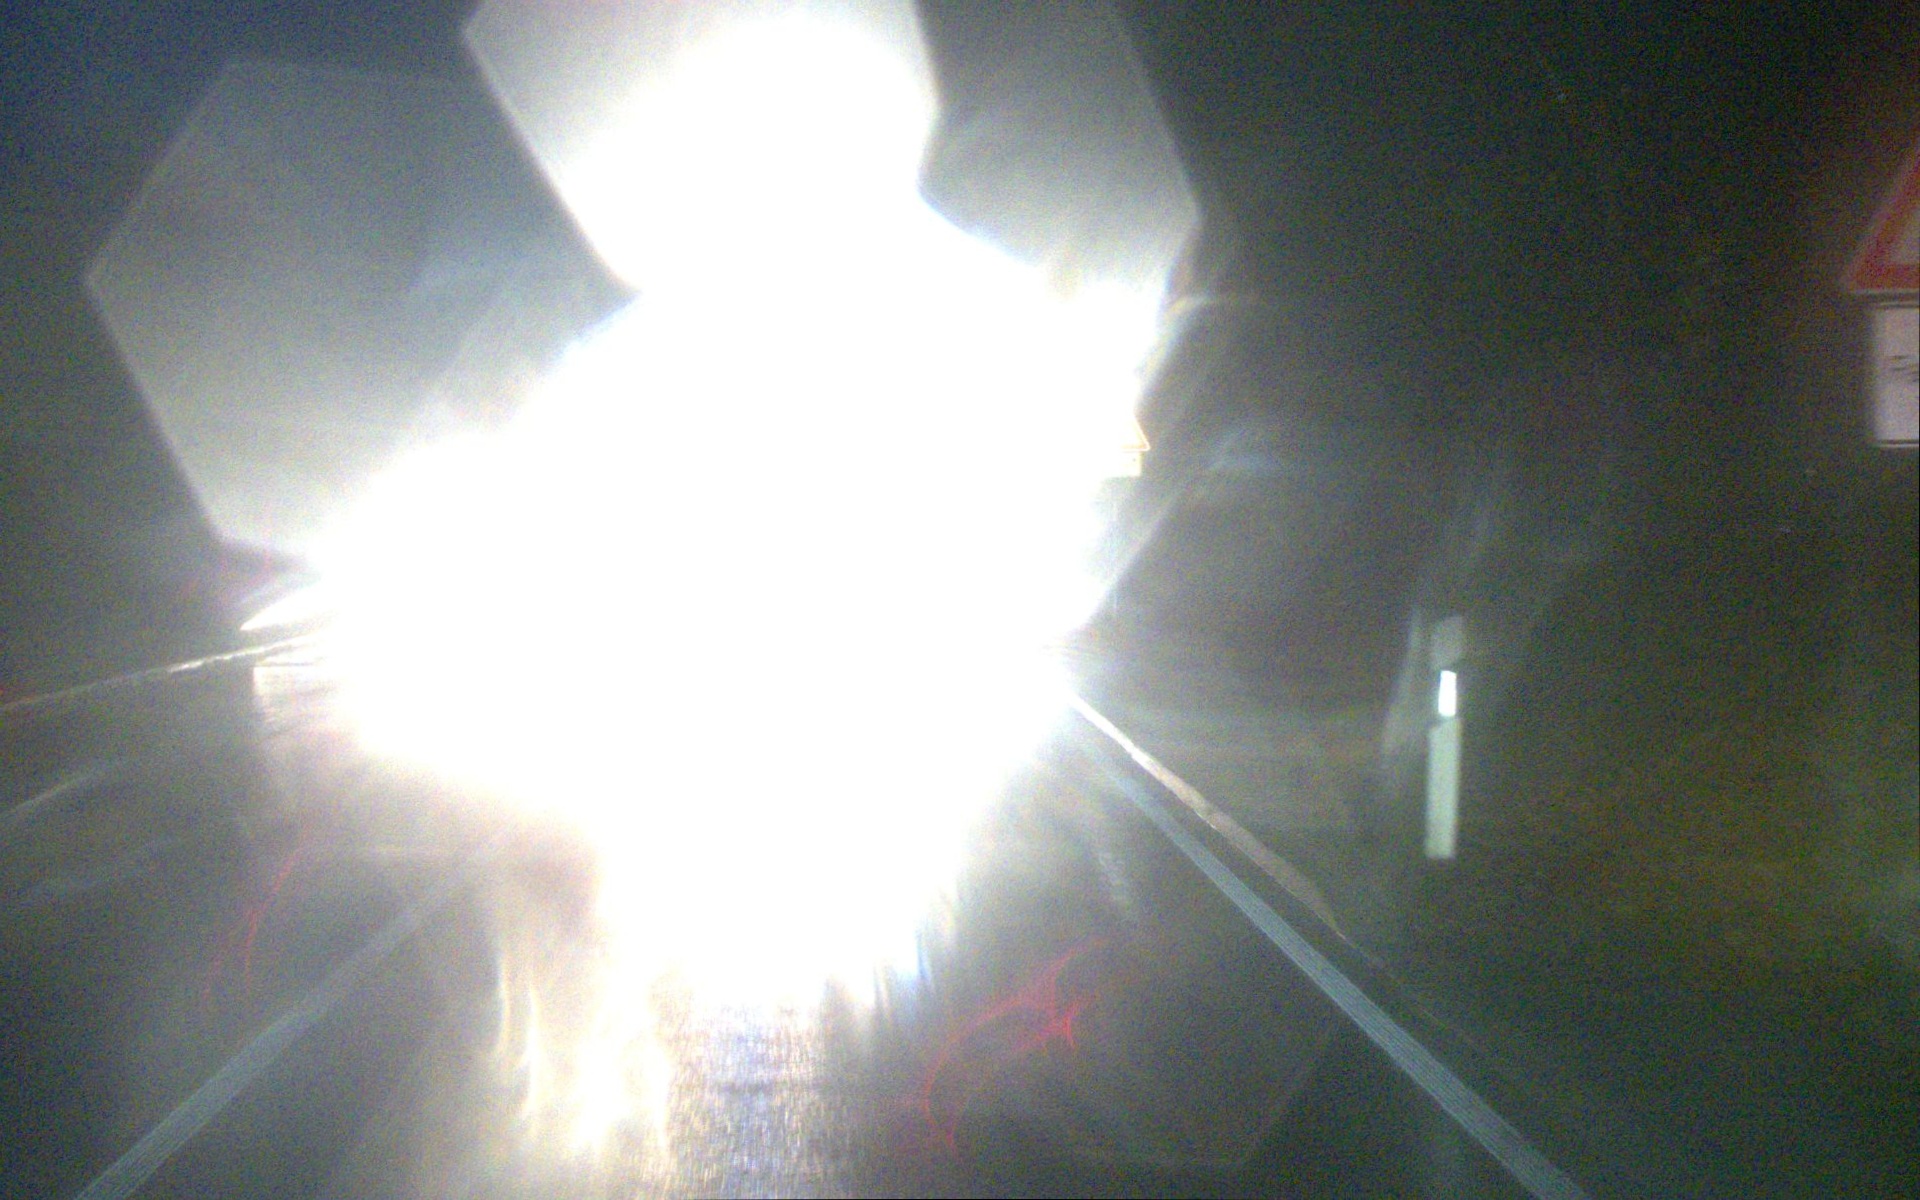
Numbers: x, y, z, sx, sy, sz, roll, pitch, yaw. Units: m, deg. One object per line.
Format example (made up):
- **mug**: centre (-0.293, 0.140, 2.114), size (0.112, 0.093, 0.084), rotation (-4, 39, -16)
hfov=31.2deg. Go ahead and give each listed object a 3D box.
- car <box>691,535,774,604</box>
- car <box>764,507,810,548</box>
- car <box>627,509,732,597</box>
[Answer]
- **car**: centre (-5.768, -0.789, 87.466), size (1.888, 1.580, 4.001), rotation (-2, 2, -1)
- **car**: centre (-6.682, -2.809, 132.735), size (1.700, 1.462, 4.042), rotation (-2, 2, -3)
- **car**: centre (-5.780, -1.001, 71.323), size (1.888, 1.665, 4.001), rotation (-2, 2, -1)
